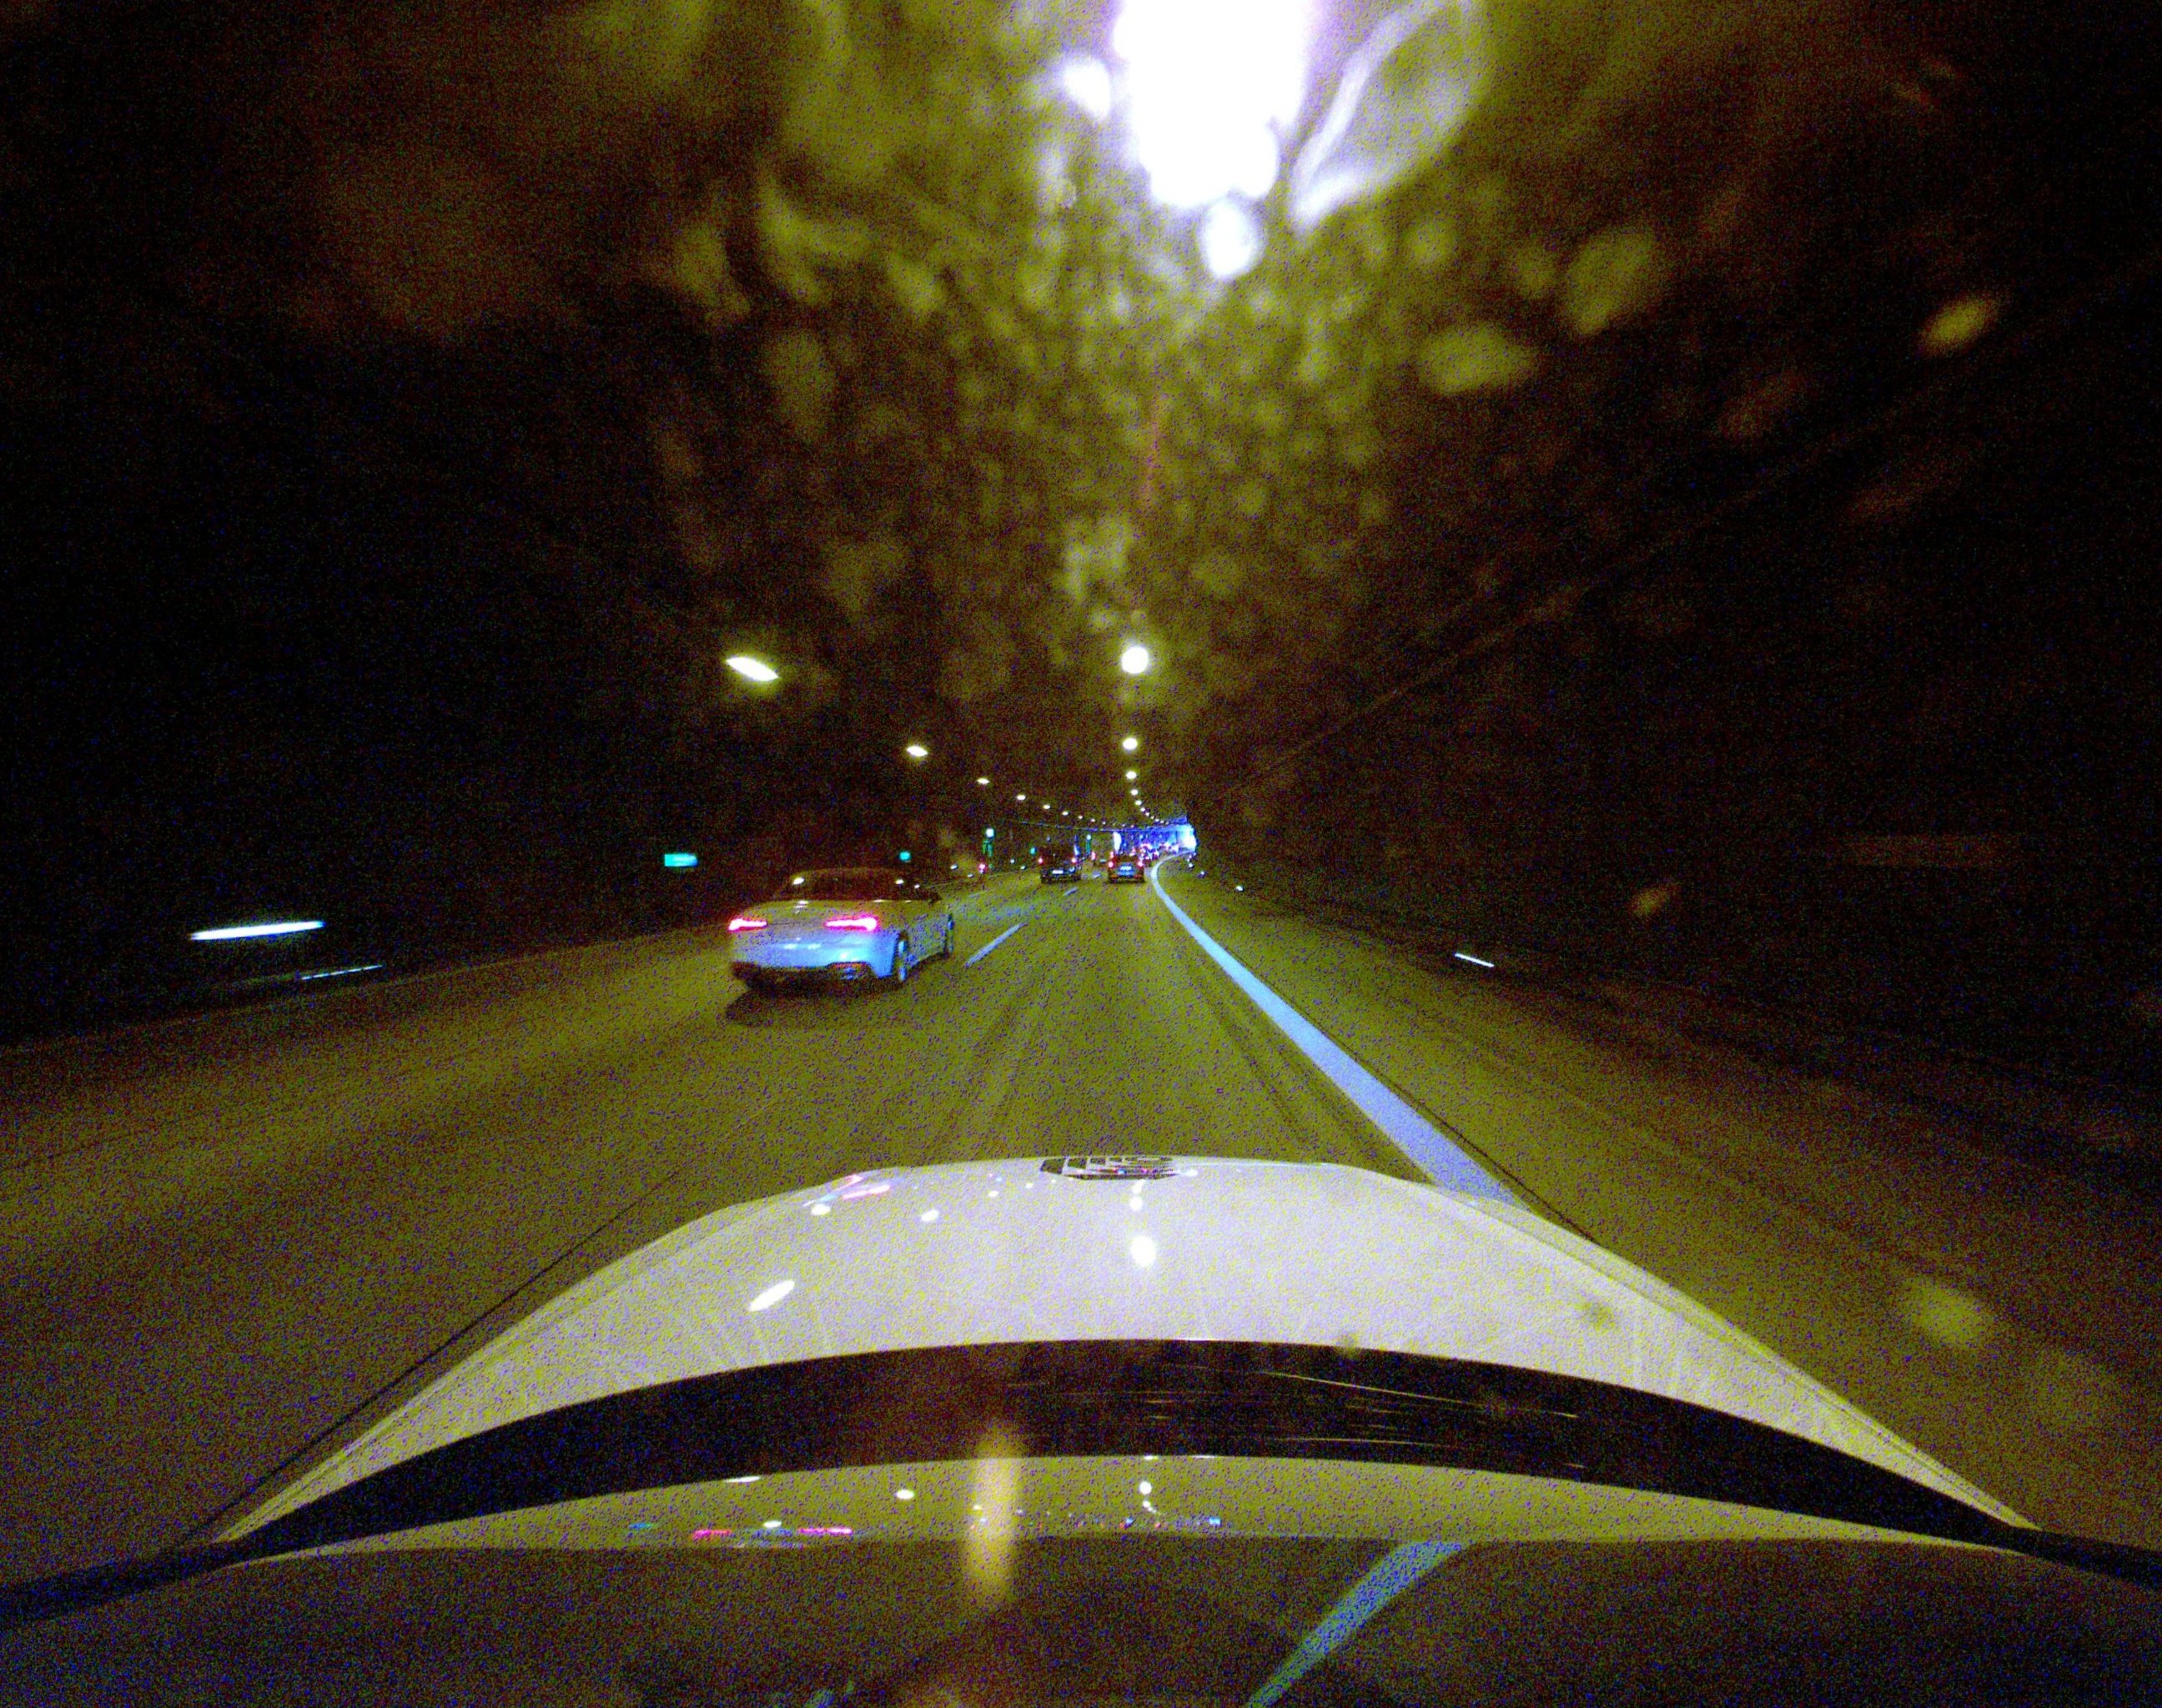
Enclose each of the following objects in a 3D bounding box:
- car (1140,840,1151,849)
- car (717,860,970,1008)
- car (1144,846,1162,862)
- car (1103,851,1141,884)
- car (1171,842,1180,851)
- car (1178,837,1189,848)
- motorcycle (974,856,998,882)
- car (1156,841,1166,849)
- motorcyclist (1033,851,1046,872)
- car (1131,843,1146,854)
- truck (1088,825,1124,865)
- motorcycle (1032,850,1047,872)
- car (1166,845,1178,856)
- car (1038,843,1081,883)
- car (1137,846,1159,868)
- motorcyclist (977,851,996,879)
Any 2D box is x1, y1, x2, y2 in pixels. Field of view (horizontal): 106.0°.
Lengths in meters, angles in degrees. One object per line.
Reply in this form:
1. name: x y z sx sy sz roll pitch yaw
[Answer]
1. car: 13.008 -1.860 163.572 1.920 1.642 4.009 -1 0 8
2. car: -2.788 0.846 10.905 1.695 1.419 5.063 -1 0 2
3. car: 8.638 0.037 97.603 1.942 1.772 4.003 -1 -1 3
4. car: 2.111 0.616 40.662 1.734 1.464 3.876 -1 1 5
5. car: 20.604 -1.642 177.656 1.982 1.632 4.008 -1 -1 8
6. car: 20.573 -2.250 163.302 1.983 2.014 4.007 -1 -1 7
7. motorcycle: -4.954 0.792 42.503 0.679 1.297 2.402 -1 -1 6
8. car: 18.587 -2.014 188.743 1.918 1.643 4.012 -1 -1 11
9. motorcyclist: -2.885 0.545 57.362 0.804 1.448 1.864 -1 -2 -1
10. car: 8.794 -0.870 124.796 1.983 1.632 4.008 -1 -1 7
11. truck: 2.490 -0.856 79.020 3.024 3.673 7.403 -1 0 5
12. motorcycle: -2.900 0.515 57.385 0.923 1.434 2.962 0 -1 -1
13. car: 15.184 -0.597 136.523 1.921 1.643 4.006 -1 -1 6
14. car: -1.068 0.423 42.534 1.902 1.944 3.874 -1 1 3
15. car: 5.866 0.229 71.678 1.848 1.854 4.005 -1 0 5
16. motorcyclist: -4.940 0.579 42.544 0.773 1.453 1.070 -1 -2 6
